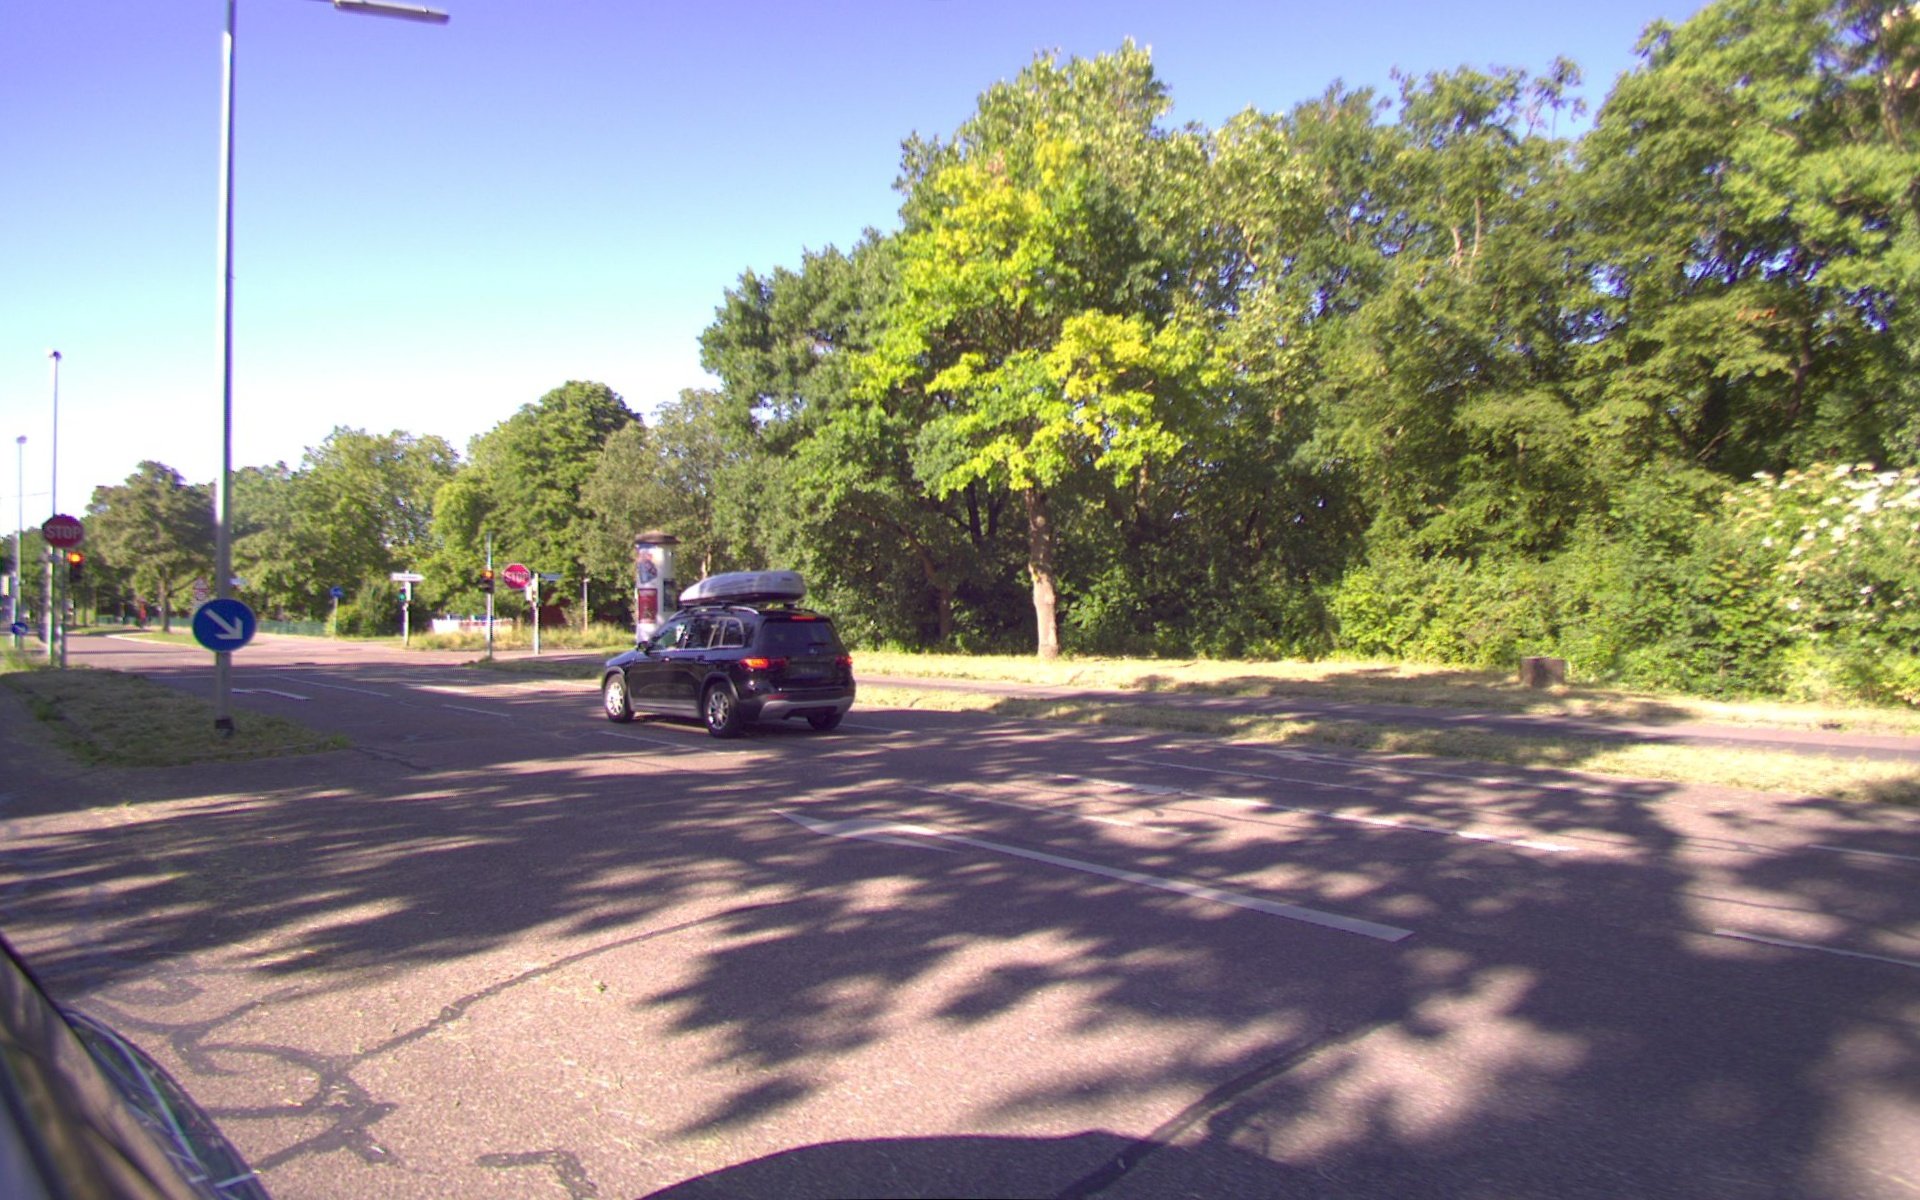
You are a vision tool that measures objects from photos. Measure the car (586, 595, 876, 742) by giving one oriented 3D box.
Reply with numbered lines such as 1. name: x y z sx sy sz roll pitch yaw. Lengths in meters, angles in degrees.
1. car: -3.326 0.855 14.098 1.818 1.721 4.507 2 -2 -45
